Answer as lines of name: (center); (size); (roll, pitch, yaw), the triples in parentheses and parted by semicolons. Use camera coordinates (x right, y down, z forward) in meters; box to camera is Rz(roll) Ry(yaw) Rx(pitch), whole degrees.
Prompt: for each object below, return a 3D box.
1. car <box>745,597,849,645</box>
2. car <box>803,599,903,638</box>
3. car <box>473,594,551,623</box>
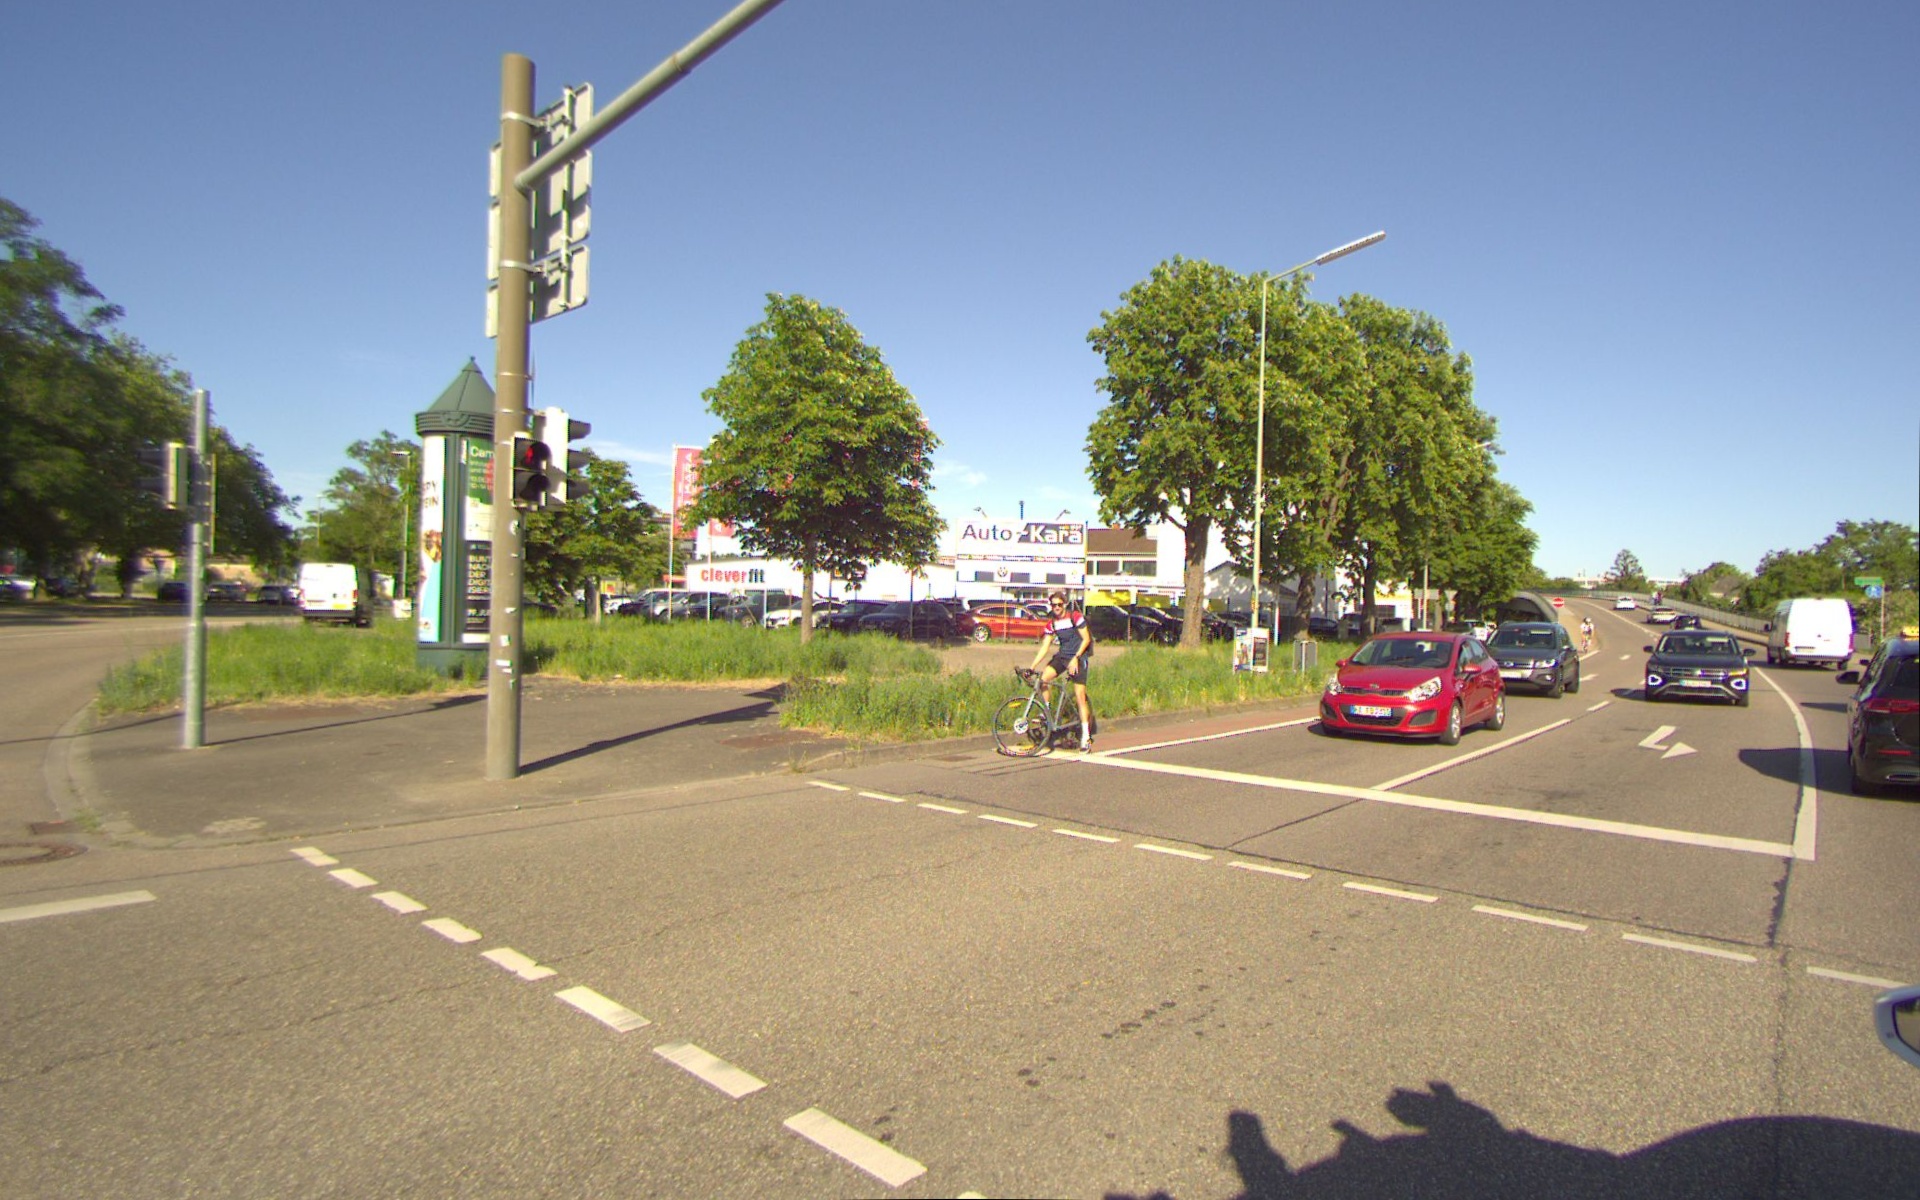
car: (-6.818, 0.875, 42.243); (1.970, 1.911, 3.980); (1, -1, 41)
car: (-4.322, 0.760, 40.985); (1.719, 1.481, 3.980); (1, -1, 41)
car: (-25.362, 0.484, 56.968); (3.944, 1.550, 1.917); (2, 0, -24)
